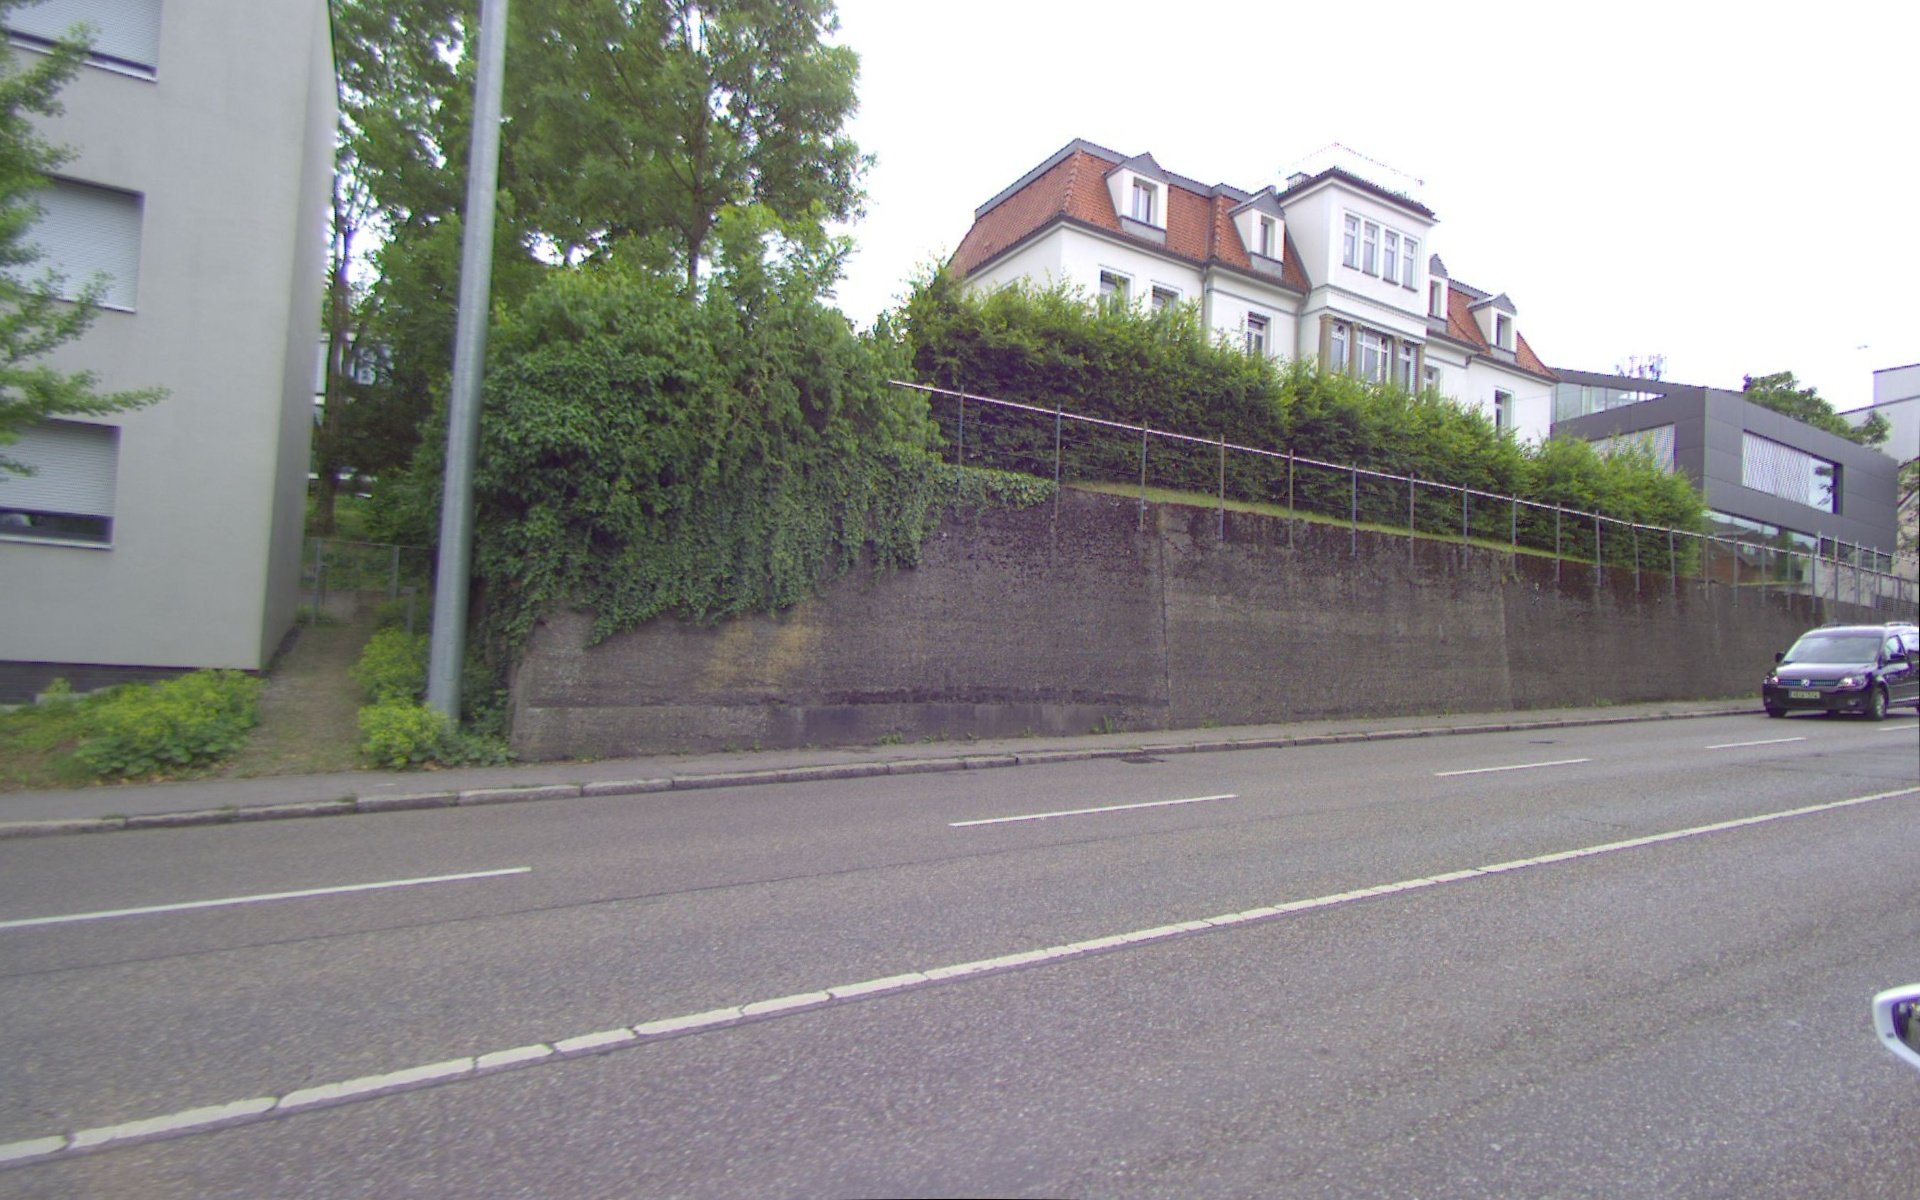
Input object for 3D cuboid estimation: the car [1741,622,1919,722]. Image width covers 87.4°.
[{"bbox_3d":[17.719,1.380,20.070,4.442,1.807,1.808,1,-3,-30],"label":"car"}]
